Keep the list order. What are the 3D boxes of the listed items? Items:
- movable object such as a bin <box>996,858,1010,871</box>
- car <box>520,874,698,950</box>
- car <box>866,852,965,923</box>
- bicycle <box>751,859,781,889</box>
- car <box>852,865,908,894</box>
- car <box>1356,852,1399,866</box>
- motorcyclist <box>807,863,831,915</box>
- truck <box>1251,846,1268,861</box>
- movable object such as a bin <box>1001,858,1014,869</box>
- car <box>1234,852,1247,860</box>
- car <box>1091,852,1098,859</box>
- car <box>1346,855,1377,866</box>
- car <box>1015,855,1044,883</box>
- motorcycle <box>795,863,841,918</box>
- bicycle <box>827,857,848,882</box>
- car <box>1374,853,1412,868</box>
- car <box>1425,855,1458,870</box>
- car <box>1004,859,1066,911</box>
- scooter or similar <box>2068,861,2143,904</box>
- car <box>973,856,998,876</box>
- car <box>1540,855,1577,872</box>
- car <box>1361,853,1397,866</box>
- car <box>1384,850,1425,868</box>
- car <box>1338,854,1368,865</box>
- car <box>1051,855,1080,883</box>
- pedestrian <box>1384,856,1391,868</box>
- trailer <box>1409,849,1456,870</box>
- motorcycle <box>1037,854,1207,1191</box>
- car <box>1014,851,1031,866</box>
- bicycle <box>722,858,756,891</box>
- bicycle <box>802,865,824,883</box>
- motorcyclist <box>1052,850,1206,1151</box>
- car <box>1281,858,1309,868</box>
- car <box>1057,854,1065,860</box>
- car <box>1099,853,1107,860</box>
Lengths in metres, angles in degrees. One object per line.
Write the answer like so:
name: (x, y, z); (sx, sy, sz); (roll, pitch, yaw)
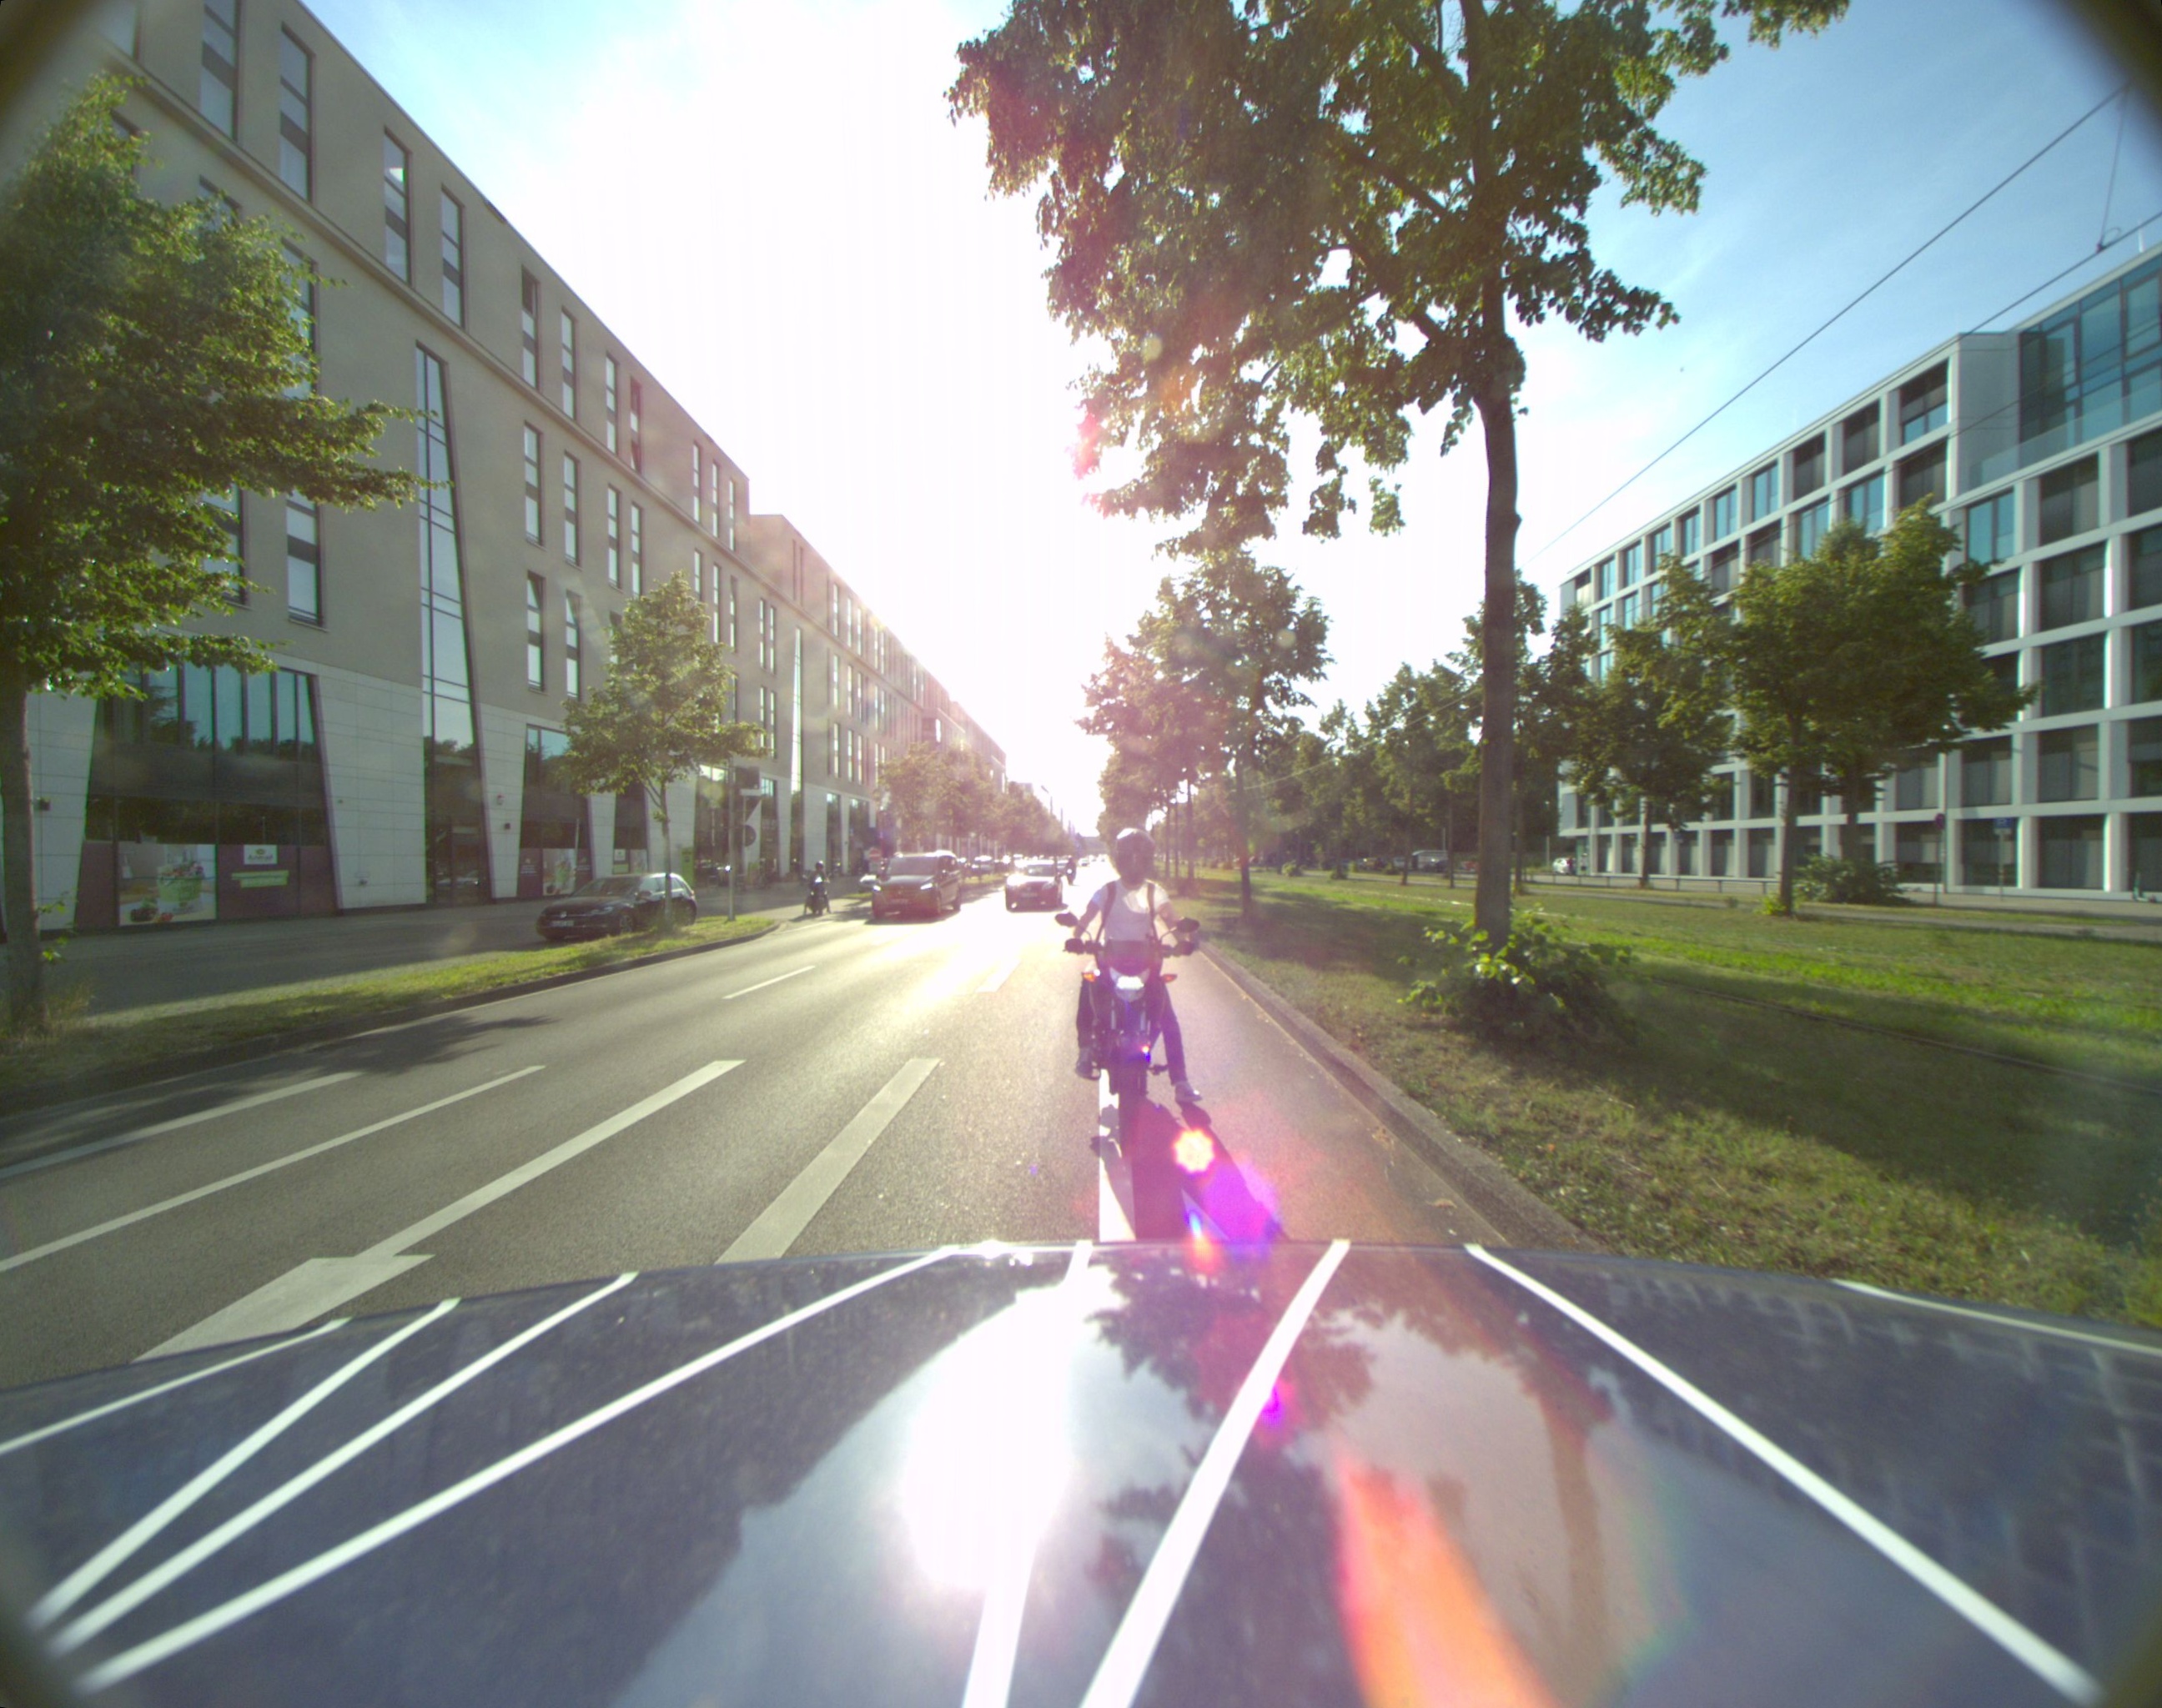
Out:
movable object such as a bin: (-8.301, 1.111, 81.092); (1.280, 1.284, 1.178); (-2, 1, -1)
car: (-10.917, 1.271, 17.957); (1.611, 1.362, 4.156); (-2, 1, -1)
car: (-5.002, 0.938, 23.695); (1.864, 1.856, 4.778); (-2, 1, 1)
bicycle: (-17.197, 1.072, 41.587); (0.557, 1.558, 2.212); (-2, 1, 2)
car: (-10.296, 1.284, 39.218); (1.712, 1.235, 3.905); (-2, 1, 1)
car: (40.215, 0.665, 103.083); (5.071, 1.725, 1.886); (-2, 1, 4)
motorcyclist: (-8.347, 1.109, 24.244); (0.625, 1.631, 0.417); (0, 1, -2)
truck: (43.308, -0.218, 184.249); (2.894, 3.496, 7.947); (-2, 1, 6)
movable object such as a bin: (-8.075, 1.034, 83.748); (1.280, 1.229, 1.191); (-2, 1, -1)
car: (32.019, 0.439, 152.494); (1.834, 1.423, 4.475); (-2, 1, 3)
car: (4.060, 0.409, 227.327); (1.998, 1.736, 4.000); (-2, 1, 1)
car: (39.033, 0.862, 105.915); (3.655, 1.420, 1.810); (-2, 1, 4)
car: (-3.723, 1.049, 55.475); (1.777, 1.805, 4.000); (-2, 1, 1)
motorcycle: (-8.347, 1.123, 24.223); (0.703, 1.608, 2.011); (-2, 1, 0)
bicycle: (-16.865, 1.051, 52.615); (0.557, 1.610, 2.212); (-2, 1, 2)
car: (38.305, 0.797, 93.346); (4.001, 1.633, 1.758); (-2, 1, 2)
car: (38.208, 0.889, 80.620); (1.683, 1.385, 3.761); (-2, 1, -1)
car: (-1.491, 1.005, 25.950); (1.739, 1.499, 4.000); (-2, 1, 1)
scooter or similar: (36.959, 1.028, 27.421); (1.933, 1.468, 0.415); (-2, 1, 6)
car: (-9.039, 1.111, 72.121); (1.832, 1.702, 4.295); (-2, 1, 0)
car: (47.528, 0.930, 75.754); (1.851, 1.586, 4.003); (-2, 1, 13)
car: (39.495, 0.736, 100.678); (3.996, 1.551, 1.856); (-2, 1, 4)
car: (38.392, 0.571, 90.186); (4.001, 1.936, 1.758); (-2, 1, 2)
car: (40.420, 0.838, 113.000); (3.865, 1.477, 1.745); (-2, 1, 9)
car: (-0.932, 0.926, 48.324); (1.644, 1.553, 3.734); (-2, 1, 1)
pedestrian: (36.499, 0.970, 90.461); (0.523, 1.472, 0.568); (-2, 1, 1)
trailer: (39.068, 0.598, 84.439); (4.373, 2.042, 1.758); (-2, 1, 5)
motorcycle: (0.228, 0.856, 5.161); (0.798, 1.659, 2.634); (-2, 1, 1)
car: (-7.972, 0.607, 103.626); (1.842, 1.865, 5.030); (-2, 1, -1)
bicycle: (-17.489, 1.046, 38.916); (0.557, 1.562, 2.276); (-2, 1, 2)
bicycle: (-17.027, 1.281, 48.249); (0.635, 1.077, 1.905); (0, 0, 2)
motorcyclist: (0.282, 0.839, 4.762); (0.814, 1.699, 0.843); (-2, 1, 1)
car: (33.121, 1.395, 117.763); (1.690, 1.427, 4.026); (-3, 1, -30)
car: (-5.503, 0.940, 211.935); (1.840, 1.521, 4.328); (-2, 1, 2)
car: (5.946, 0.582, 205.096); (1.998, 1.736, 4.000); (-2, 1, 1)
